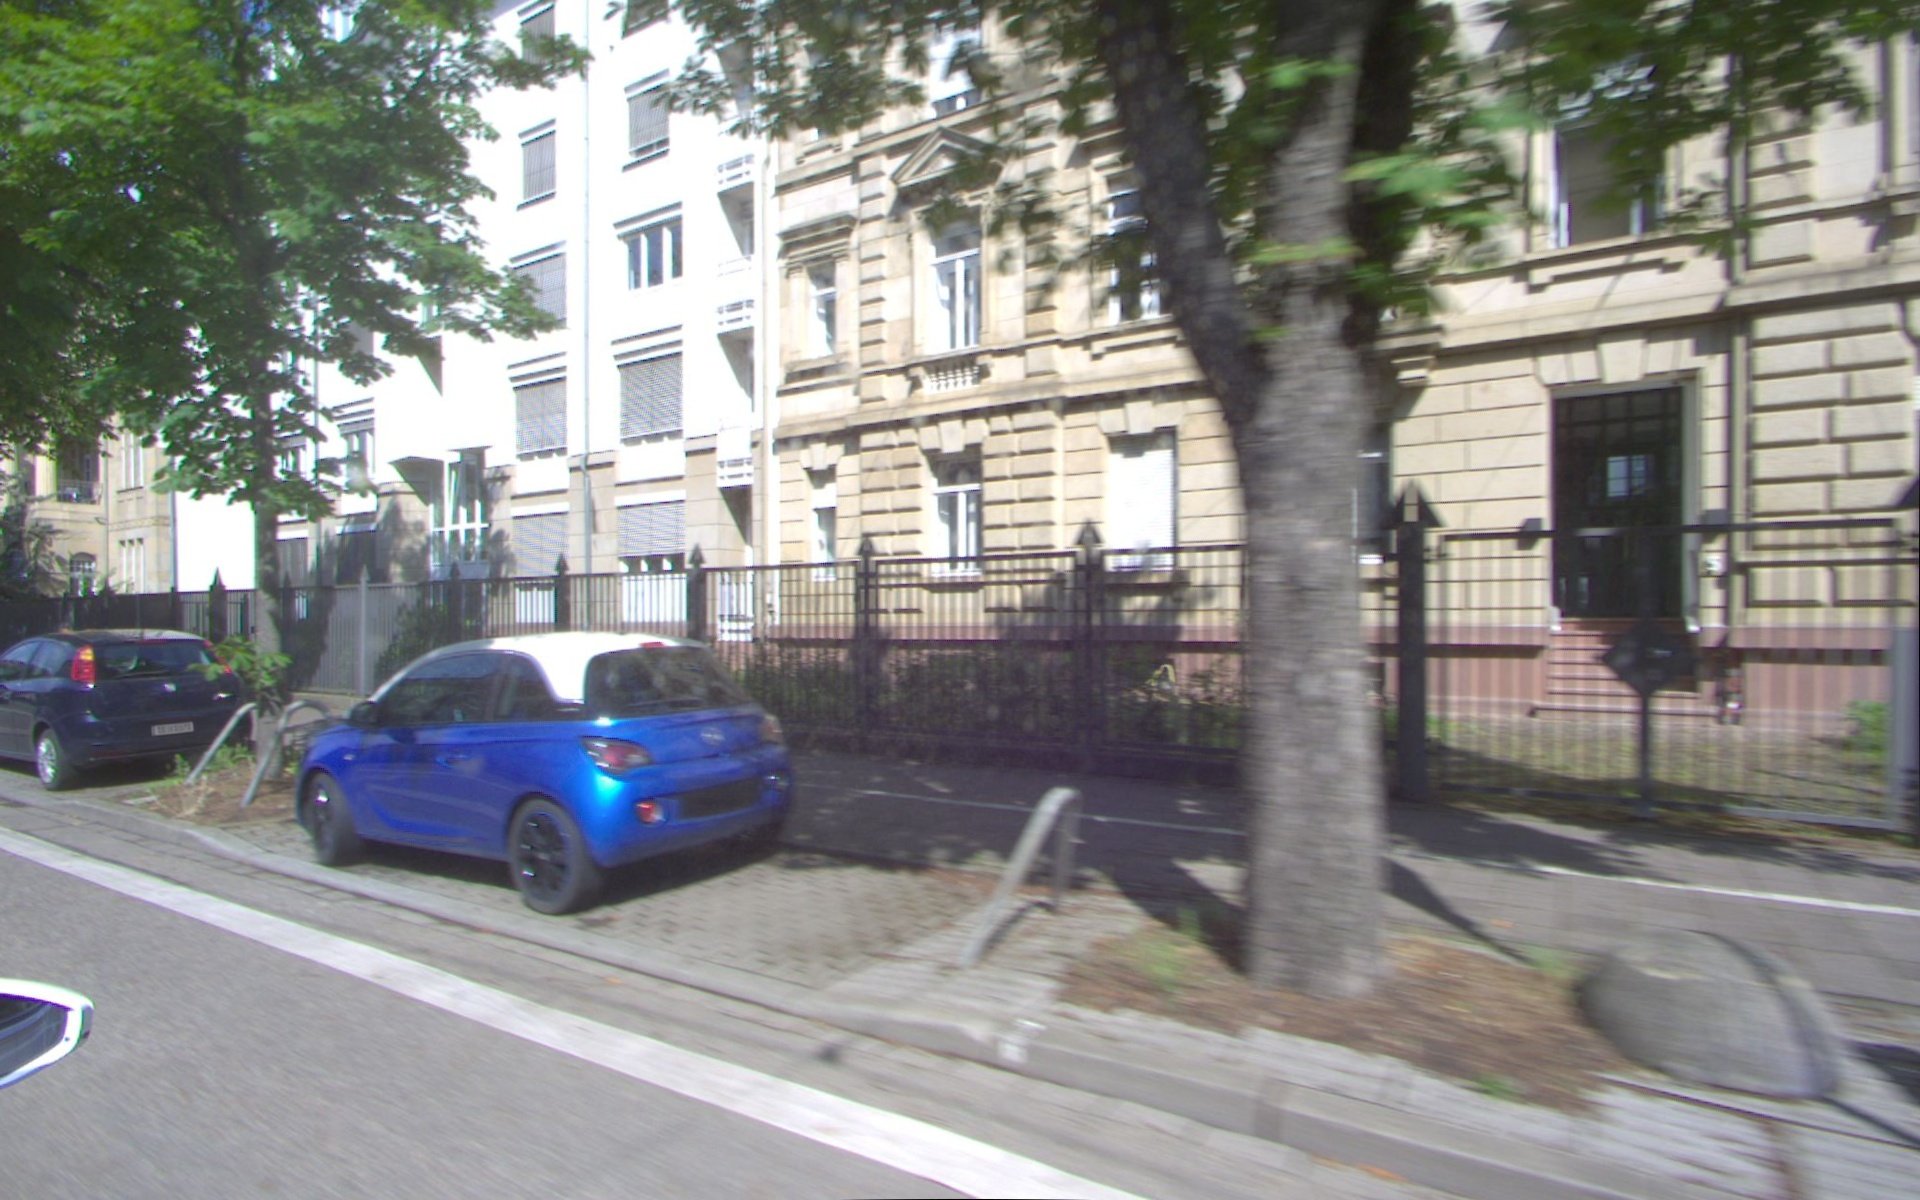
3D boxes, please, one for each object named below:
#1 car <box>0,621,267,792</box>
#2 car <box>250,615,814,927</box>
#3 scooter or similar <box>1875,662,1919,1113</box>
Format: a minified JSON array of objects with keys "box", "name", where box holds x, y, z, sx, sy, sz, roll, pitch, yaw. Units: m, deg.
[{"box":[-9.371,1.012,10.859,3.702,1.516,1.637,-1,1,31],"name":"car"},{"box":[-2.890,0.884,6.623,3.574,1.516,1.636,-1,1,31],"name":"car"},{"box":[3.396,0.853,2.814,1.159,1.318,0.441,0,3,2],"name":"scooter or similar"}]
